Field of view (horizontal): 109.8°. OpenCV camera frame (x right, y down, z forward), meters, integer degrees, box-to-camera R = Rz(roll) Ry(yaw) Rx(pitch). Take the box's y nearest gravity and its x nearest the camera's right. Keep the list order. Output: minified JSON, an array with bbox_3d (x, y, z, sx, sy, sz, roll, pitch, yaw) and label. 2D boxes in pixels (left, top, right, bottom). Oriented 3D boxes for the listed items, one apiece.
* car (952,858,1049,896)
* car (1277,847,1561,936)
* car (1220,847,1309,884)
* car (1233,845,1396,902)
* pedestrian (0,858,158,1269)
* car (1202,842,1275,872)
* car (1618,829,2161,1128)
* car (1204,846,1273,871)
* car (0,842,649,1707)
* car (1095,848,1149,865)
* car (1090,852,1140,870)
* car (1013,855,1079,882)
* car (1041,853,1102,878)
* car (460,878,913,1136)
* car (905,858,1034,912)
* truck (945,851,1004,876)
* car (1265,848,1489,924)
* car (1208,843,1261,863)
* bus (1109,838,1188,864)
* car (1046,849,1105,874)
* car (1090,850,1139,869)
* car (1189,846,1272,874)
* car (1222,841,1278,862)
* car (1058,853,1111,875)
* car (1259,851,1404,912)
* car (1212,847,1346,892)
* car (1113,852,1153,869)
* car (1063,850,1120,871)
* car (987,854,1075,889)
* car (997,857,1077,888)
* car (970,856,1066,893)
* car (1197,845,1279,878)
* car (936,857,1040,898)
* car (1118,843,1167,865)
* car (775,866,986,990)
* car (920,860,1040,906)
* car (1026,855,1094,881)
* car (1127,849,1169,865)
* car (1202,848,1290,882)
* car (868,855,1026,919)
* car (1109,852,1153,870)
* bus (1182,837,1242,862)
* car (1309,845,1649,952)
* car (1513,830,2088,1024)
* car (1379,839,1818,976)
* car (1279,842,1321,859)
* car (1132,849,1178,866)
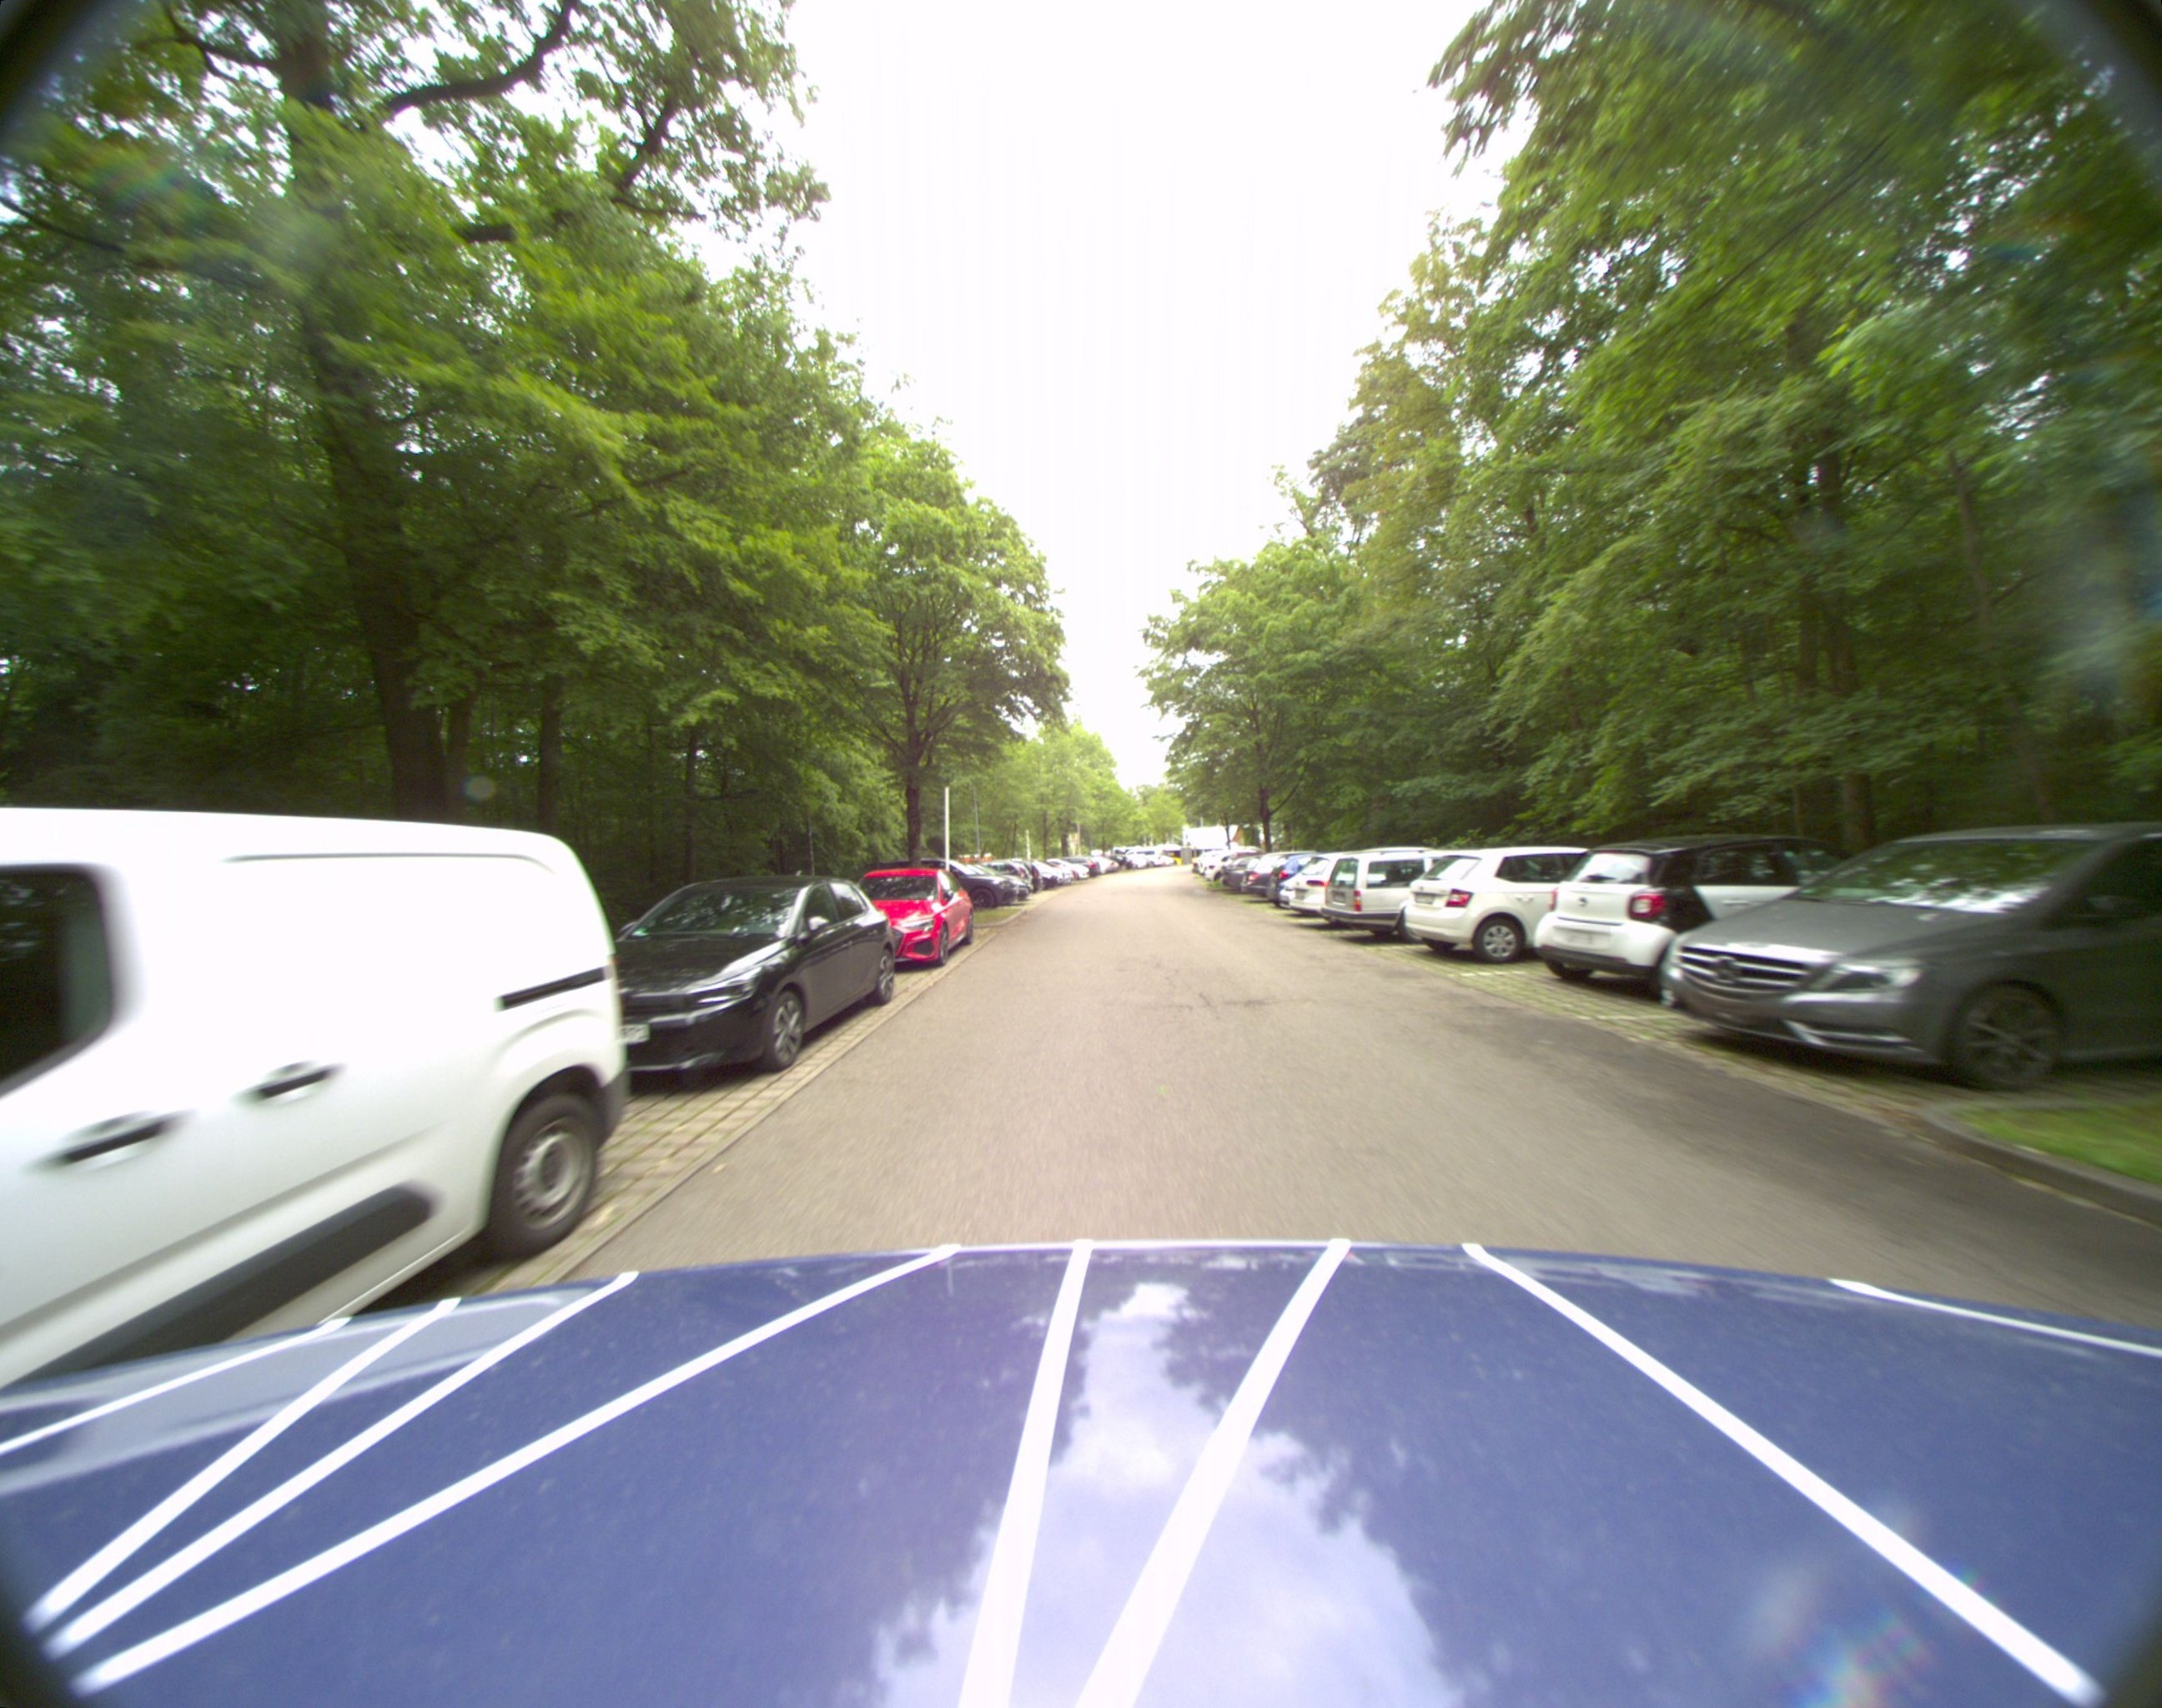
[{"bbox_3d":[-3.452,0.990,33.018,3.835,1.449,1.809,-2,1,5],"label":"car"},{"bbox_3d":[6.422,0.676,14.820,4.575,1.439,2.085,-2,0,-2],"label":"car"},{"bbox_3d":[7.777,0.483,32.423,3.472,1.472,1.684,-1,1,6],"label":"car"},{"bbox_3d":[6.823,0.554,22.624,4.275,1.477,2.058,-2,0,5],"label":"car"},{"bbox_3d":[-4.970,0.897,3.205,0.819,1.716,1.004,-3,1,1],"label":"pedestrian"},{"bbox_3d":[9.649,0.181,46.899,4.241,1.637,1.971,-2,0,7],"label":"car"},{"bbox_3d":[6.359,0.658,5.169,4.044,1.546,1.919,-2,0,-1],"label":"car"},{"bbox_3d":[10.185,0.285,49.348,4.241,1.524,1.763,-2,0,8],"label":"car"},{"bbox_3d":[-3.070,0.897,1.565,1.749,1.770,4.551,-3,0,-1],"label":"car"},{"bbox_3d":[3.952,0.272,72.915,4.777,1.467,1.855,-2,-1,19],"label":"car"},{"bbox_3d":[3.141,0.653,70.548,4.234,1.472,1.921,-3,0,16],"label":"car"},{"bbox_3d":[-2.059,0.860,45.440,3.804,1.432,1.870,-2,0,0],"label":"car"},{"bbox_3d":[-0.580,0.750,50.426,3.775,1.472,1.775,-3,0,6],"label":"car"},{"bbox_3d":[-2.945,1.027,6.891,1.729,1.414,4.284,-2,0,1],"label":"car"},{"bbox_3d":[-3.639,0.993,25.403,3.998,1.542,1.975,-3,0,-2],"label":"car"},{"bbox_3d":[-16.086,1.458,114.684,8.233,3.493,2.872,-2,-1,14],"label":"truck"},{"bbox_3d":[6.695,0.690,17.520,4.377,1.477,1.891,-2,1,-1],"label":"car"},{"bbox_3d":[13.394,-0.104,66.370,4.361,1.588,2.033,-2,1,16],"label":"car"},{"bbox_3d":[9.452,-0.470,106.328,10.517,3.139,2.811,-2,-2,-8],"label":"bus"},{"bbox_3d":[-0.362,0.514,53.587,3.774,1.580,1.951,-3,0,11],"label":"car"},{"bbox_3d":[3.046,0.477,67.968,3.992,1.474,1.924,-2,0,16],"label":"car"},{"bbox_3d":[8.732,0.364,44.716,4.648,1.469,2.096,-2,0,8],"label":"car"},{"bbox_3d":[16.801,-0.263,75.484,5.091,1.904,1.981,-2,0,20],"label":"car"},{"bbox_3d":[0.252,0.775,58.179,3.708,1.502,1.752,-2,1,12],"label":"car"},{"bbox_3d":[6.483,0.689,19.939,3.226,1.436,1.680,-2,0,1],"label":"car"},{"bbox_3d":[7.103,0.556,27.639,4.414,1.416,2.036,-2,0,5],"label":"car"},{"bbox_3d":[5.318,0.680,77.579,3.727,1.545,1.849,-4,-3,17],"label":"car"},{"bbox_3d":[0.842,0.534,60.267,4.133,1.453,1.867,-2,1,14],"label":"car"},{"bbox_3d":[-2.488,0.859,38.129,4.016,1.550,1.979,-3,0,8],"label":"car"},{"bbox_3d":[-2.310,0.984,40.670,3.985,1.475,1.885,-2,0,4],"label":"car"},{"bbox_3d":[-2.891,0.934,35.586,4.196,1.503,1.894,-2,0,4],"label":"car"},{"bbox_3d":[8.187,0.386,39.501,3.966,1.618,2.000,-2,0,15],"label":"car"},{"bbox_3d":[-3.719,0.935,30.791,3.835,1.522,1.851,-1,0,4],"label":"car"},{"bbox_3d":[6.503,0.028,80.034,4.654,2.008,2.087,-4,-2,19],"label":"car"},{"bbox_3d":[-2.957,1.021,12.528,1.998,1.470,4.972,-3,0,1],"label":"car"},{"bbox_3d":[-3.670,1.051,28.055,3.995,1.466,1.953,-2,0,5],"label":"car"},{"bbox_3d":[-1.311,0.875,48.097,3.940,1.402,1.879,-3,0,8],"label":"car"},{"bbox_3d":[7.259,0.324,82.682,4.001,1.546,1.950,-4,-1,26],"label":"car"},{"bbox_3d":[7.506,0.504,34.801,3.734,1.411,1.873,-2,0,7],"label":"car"},{"bbox_3d":[-3.940,0.944,22.839,4.275,1.656,1.958,-3,0,3],"label":"car"},{"bbox_3d":[4.969,0.703,75.289,3.992,1.475,1.879,-4,1,17],"label":"car"},{"bbox_3d":[18.517,-0.662,107.618,7.756,3.139,2.811,-2,-2,-8],"label":"bus"},{"bbox_3d":[6.316,0.678,12.475,4.573,1.477,1.870,-2,0,1],"label":"car"},{"bbox_3d":[7.024,0.635,7.722,4.247,1.541,1.846,-2,0,-4],"label":"car"},{"bbox_3d":[6.708,0.649,10.257,4.574,1.477,1.940,-3,0,0],"label":"car"},{"bbox_3d":[28.917,-0.453,100.336,4.926,1.766,2.000,-3,-3,-3],"label":"car"},{"bbox_3d":[8.276,0.342,84.950,4.524,1.683,2.169,-2,0,25],"label":"car"}]
